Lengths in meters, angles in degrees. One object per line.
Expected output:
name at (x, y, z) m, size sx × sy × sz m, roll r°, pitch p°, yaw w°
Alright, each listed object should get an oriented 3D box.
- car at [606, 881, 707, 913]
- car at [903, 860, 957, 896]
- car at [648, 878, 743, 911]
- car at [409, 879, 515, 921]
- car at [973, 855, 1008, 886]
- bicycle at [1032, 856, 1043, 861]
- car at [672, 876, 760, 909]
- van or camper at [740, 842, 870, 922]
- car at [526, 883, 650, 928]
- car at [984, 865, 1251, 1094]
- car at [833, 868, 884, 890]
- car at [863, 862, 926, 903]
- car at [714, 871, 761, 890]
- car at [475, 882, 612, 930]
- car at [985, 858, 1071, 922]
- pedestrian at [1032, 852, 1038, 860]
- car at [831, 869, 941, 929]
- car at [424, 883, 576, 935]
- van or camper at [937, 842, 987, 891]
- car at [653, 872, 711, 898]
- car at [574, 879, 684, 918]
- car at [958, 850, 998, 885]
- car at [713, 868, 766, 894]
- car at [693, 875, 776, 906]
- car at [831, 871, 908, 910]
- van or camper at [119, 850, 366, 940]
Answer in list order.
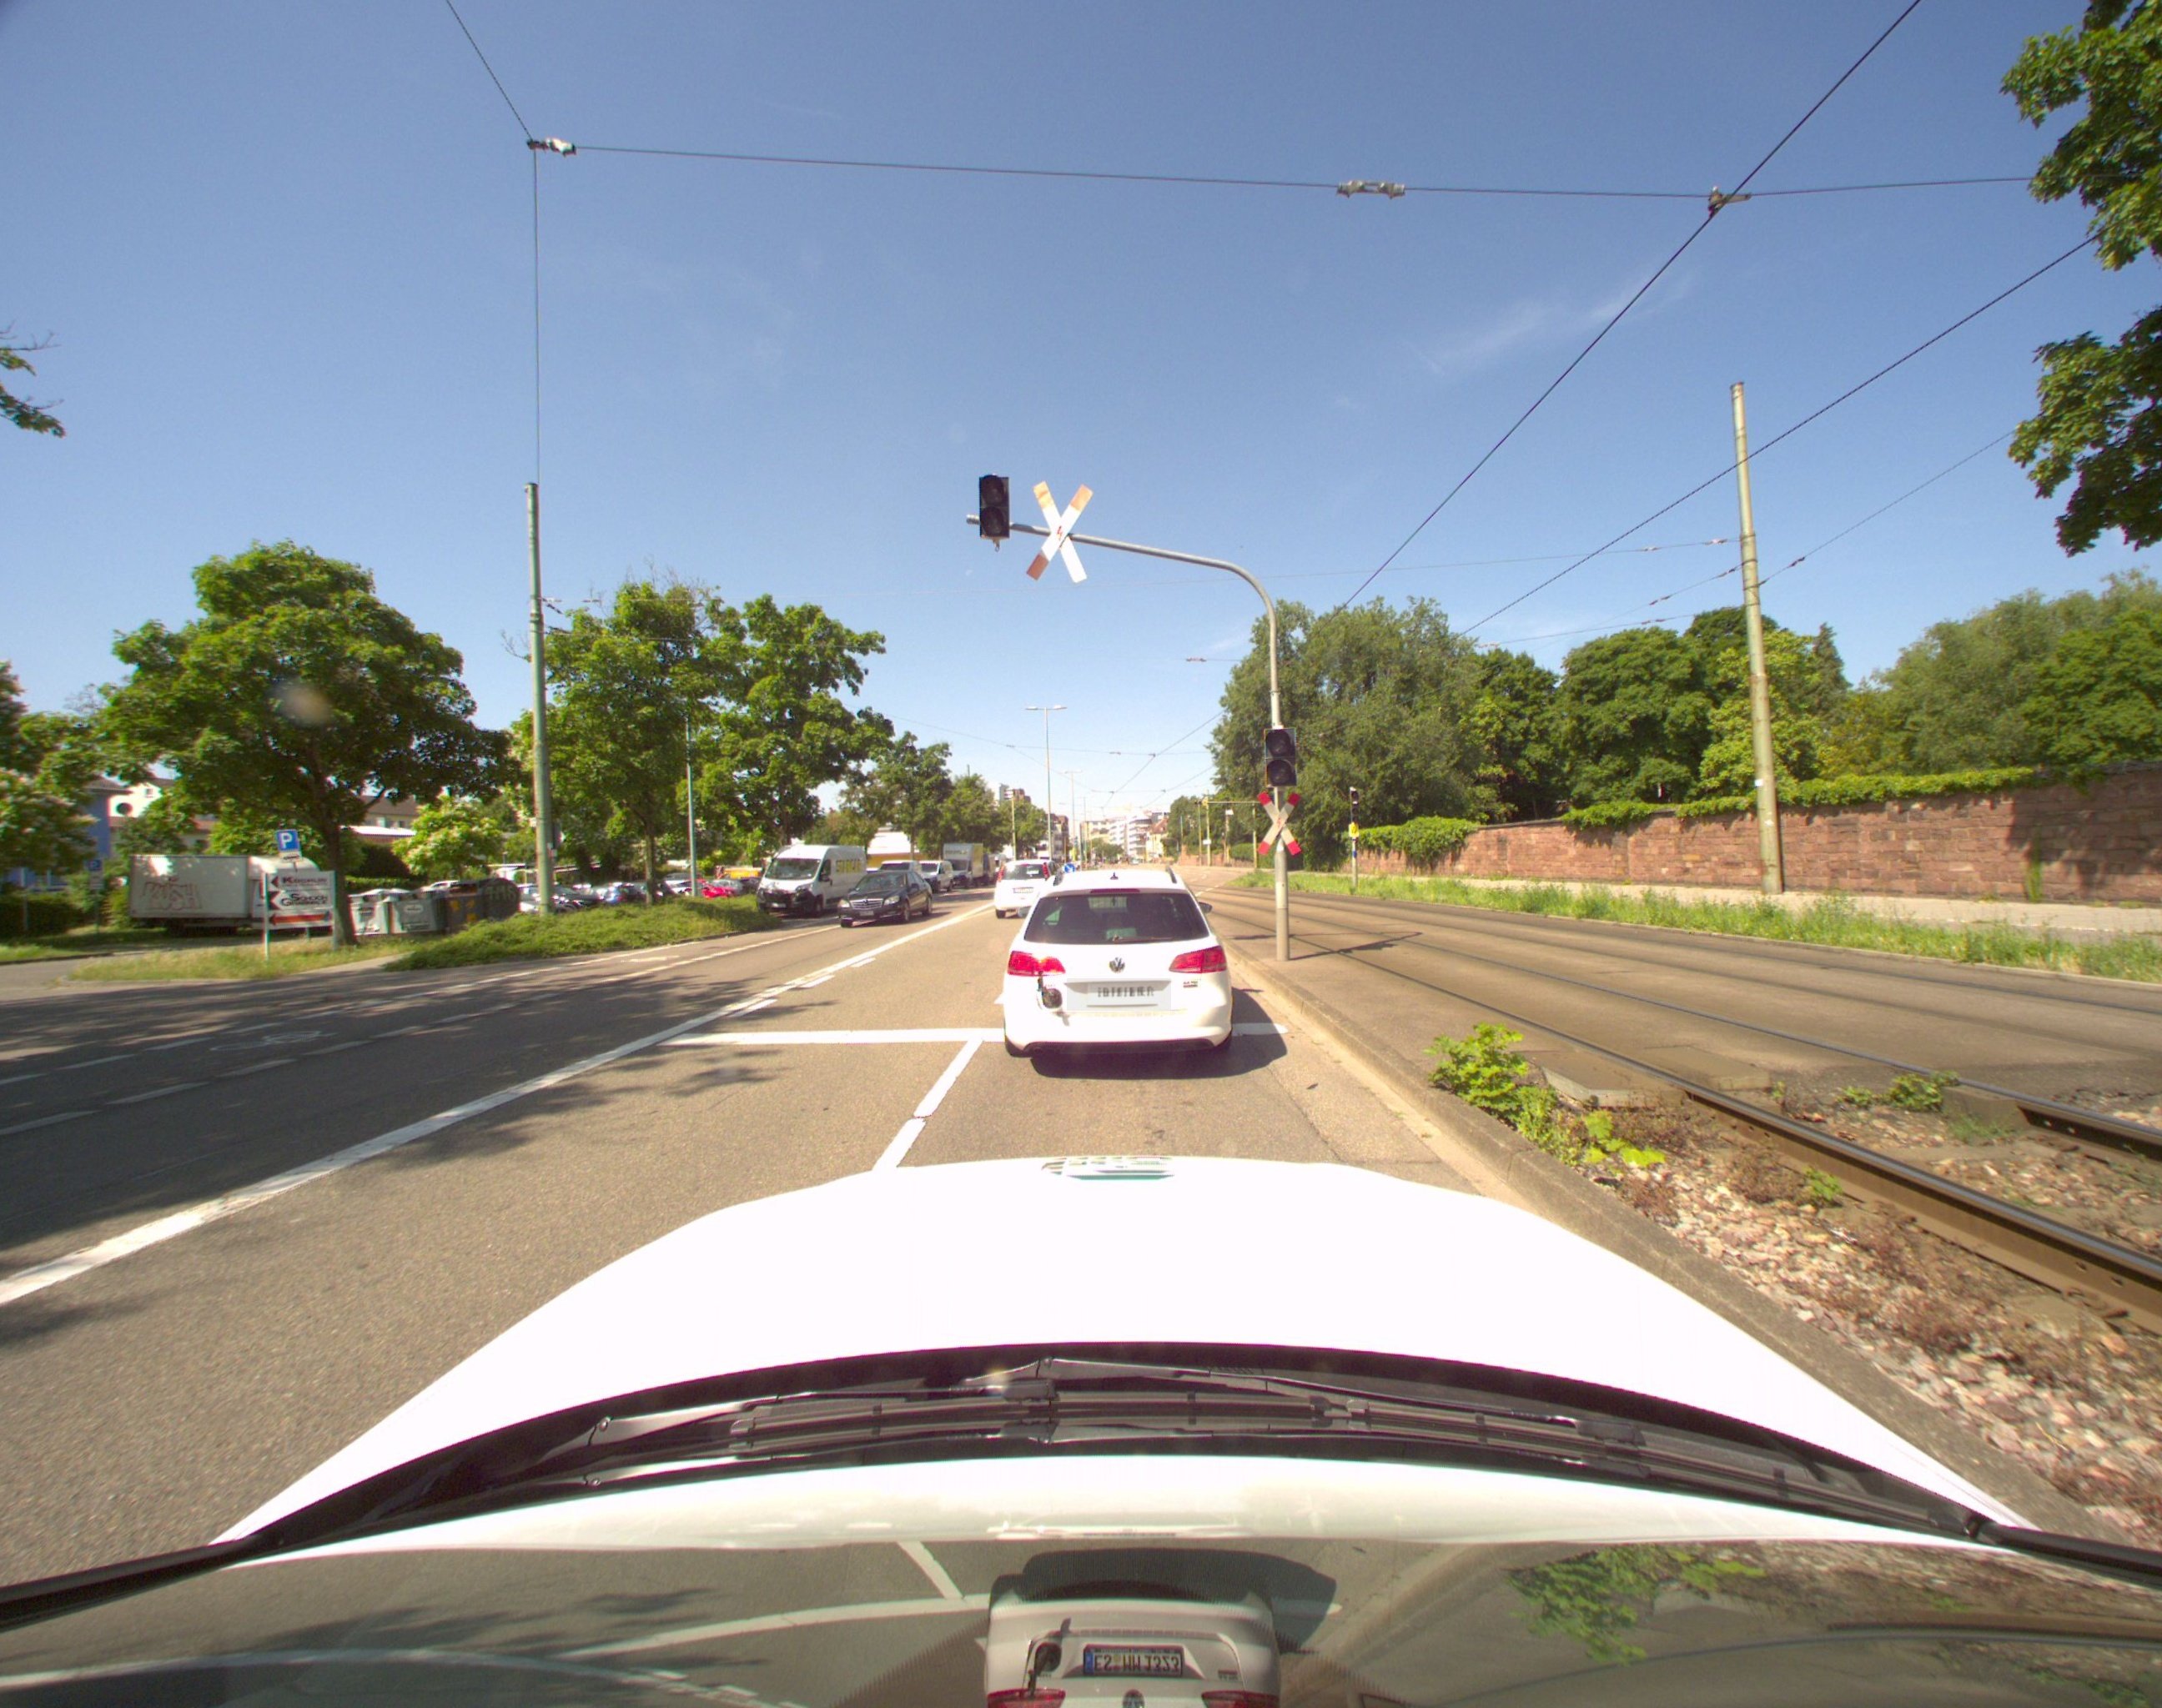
car at (-20.268, 2.043, 38.953) m, size 3.901 × 1.271 × 1.664 m, roll -3°, pitch -1°, yaw 1°
car at (-9.082, 1.405, 49.331) m, size 2.189 × 1.941 × 5.184 m, roll -2°, pitch -1°, yaw 0°
car at (-19.667, 2.046, 41.646) m, size 3.973 × 1.409 × 1.733 m, roll -3°, pitch -1°, yaw 1°
car at (-31.830, 2.361, 41.963) m, size 3.976 × 1.891 × 1.784 m, roll -2°, pitch -1°, yaw -2°
car at (-7.962, 1.400, 72.259) m, size 2.187 × 2.631 × 5.982 m, roll 0°, pitch -1°, yaw 2°
bicycle at (-8.249, 0.789, 153.752) m, size 2.190 × 0.921 × 0.546 m, roll -2°, pitch -1°, yaw -45°
car at (-19.768, 2.085, 44.211) m, size 3.973 × 1.544 × 1.664 m, roll -3°, pitch -1°, yaw 1°
van or camper at (-9.818, 0.946, 29.707) m, size 2.248 × 2.515 × 6.152 m, roll -3°, pitch -1°, yaw 3°
car at (-20.090, 2.079, 33.288) m, size 3.974 × 1.544 × 1.663 m, roll -3°, pitch -1°, yaw 0°
car at (0.331, 0.854, 7.345) m, size 1.771 × 1.490 × 3.849 m, roll 0°, pitch -1°, yaw 2°
car at (-19.461, 2.206, 71.367) m, size 3.974 × 1.694 × 1.663 m, roll -3°, pitch -1°, yaw -1°
car at (-9.574, 1.420, 42.318) m, size 2.190 × 1.941 × 5.180 m, roll -2°, pitch -1°, yaw -2°
car at (-43.412, 3.317, 103.045) m, size 4.915 × 2.174 × 2.099 m, roll -3°, pitch -1°, yaw -2°
car at (-20.183, 1.934, 30.679) m, size 3.974 × 1.544 × 1.663 m, roll -3°, pitch -1°, yaw 0°
car at (-1.377, 0.940, 22.858) m, size 1.722 × 1.596 × 4.017 m, roll -2°, pitch -1°, yaw 6°
pedestrian at (-8.717, 0.371, 154.099) m, size 0.559 × 1.487 × 0.821 m, roll -3°, pitch -1°, yaw 45°
car at (-5.372, 1.198, 23.034) m, size 1.777 × 1.409 × 4.309 m, roll -3°, pitch -1°, yaw 4°
car at (-20.006, 1.868, 28.137) m, size 3.974 × 1.544 × 1.663 m, roll -3°, pitch -1°, yaw 0°
van or camper at (-8.340, 0.867, 57.617) m, size 2.186 × 3.241 × 6.777 m, roll 0°, pitch -1°, yaw 3°
car at (-34.194, 2.651, 69.895) m, size 3.976 × 2.003 × 1.909 m, roll -2°, pitch -1°, yaw -2°
car at (-20.259, 1.977, 36.618) m, size 3.973 × 1.544 × 1.664 m, roll -3°, pitch -1°, yaw 1°
car at (-8.200, 1.056, 65.548) m, size 2.187 × 2.669 × 6.082 m, roll 0°, pitch -1°, yaw 2°
car at (-31.317, 2.461, 74.803) m, size 3.976 × 2.200 × 1.909 m, roll -2°, pitch -1°, yaw -2°
car at (-19.767, 2.089, 46.551) m, size 3.973 × 1.544 × 1.664 m, roll -3°, pitch -1°, yaw 1°
car at (-9.226, 1.571, 35.975) m, size 1.925 × 1.455 × 4.887 m, roll -3°, pitch -1°, yaw 2°
van or camper at (-32.832, 1.561, 32.070) m, size 6.928 × 3.244 × 2.581 m, roll -1°, pitch -1°, yaw -1°
